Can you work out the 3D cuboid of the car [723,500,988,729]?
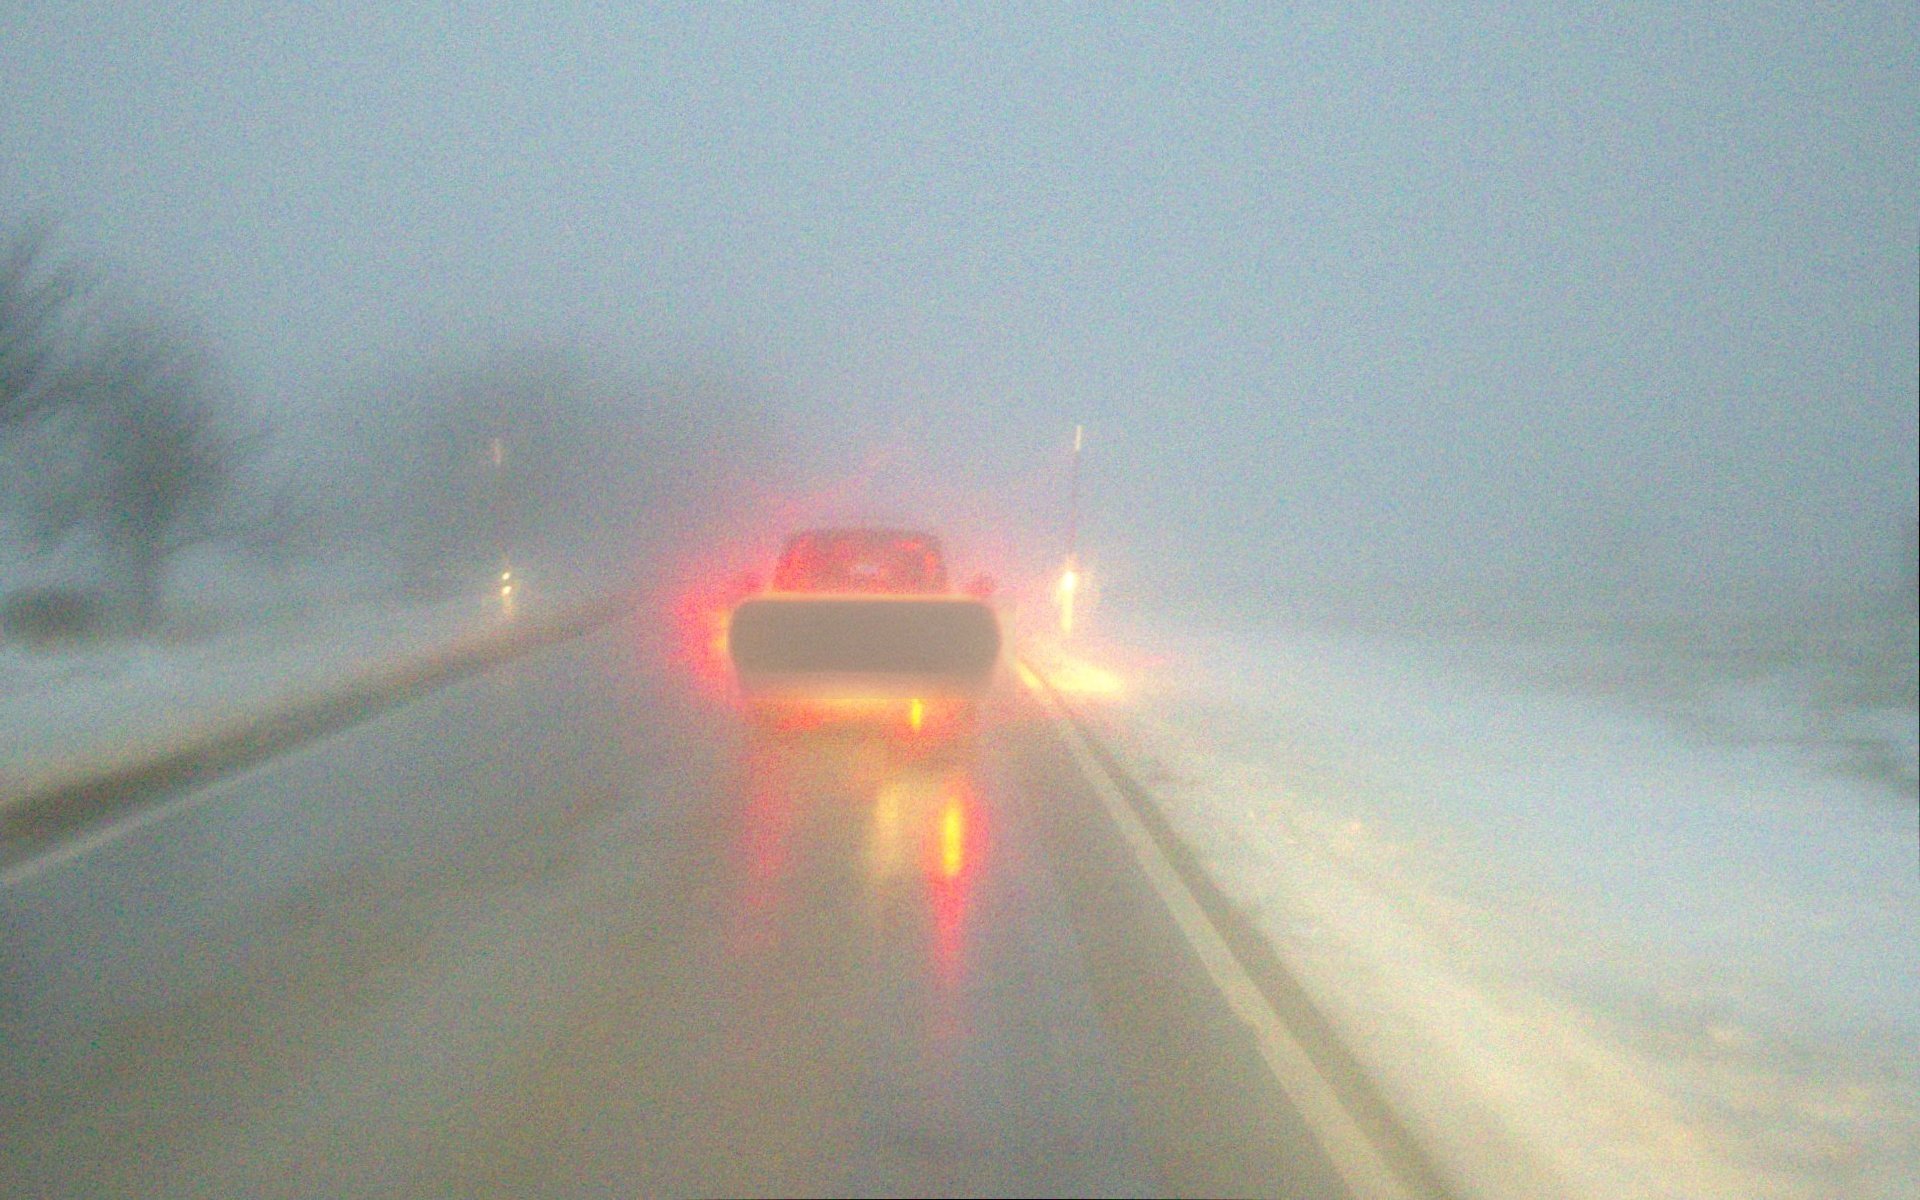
[{"bbox_3d":[-0.686,0.066,24.637,1.707,1.458,4.000,2,1,0],"label":"car"}]
